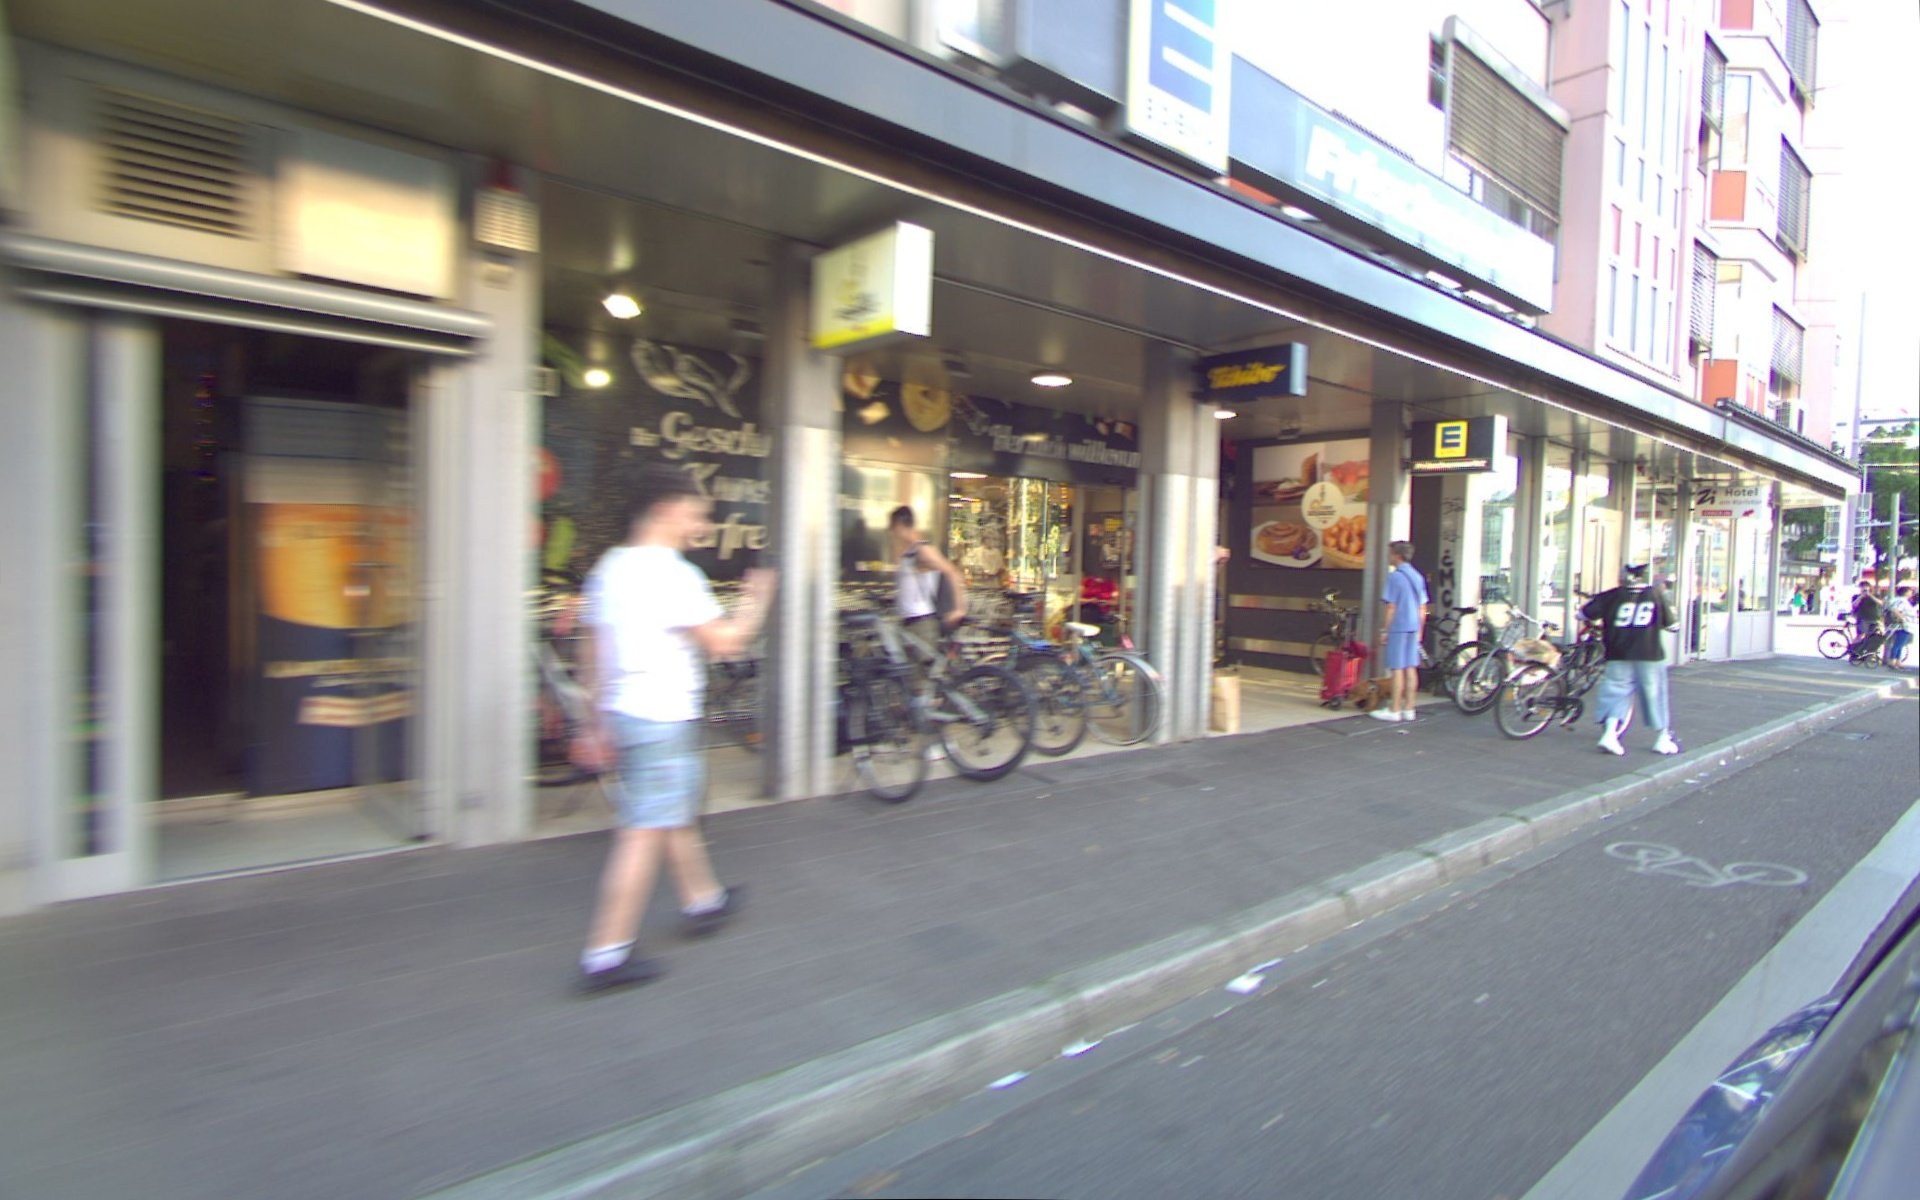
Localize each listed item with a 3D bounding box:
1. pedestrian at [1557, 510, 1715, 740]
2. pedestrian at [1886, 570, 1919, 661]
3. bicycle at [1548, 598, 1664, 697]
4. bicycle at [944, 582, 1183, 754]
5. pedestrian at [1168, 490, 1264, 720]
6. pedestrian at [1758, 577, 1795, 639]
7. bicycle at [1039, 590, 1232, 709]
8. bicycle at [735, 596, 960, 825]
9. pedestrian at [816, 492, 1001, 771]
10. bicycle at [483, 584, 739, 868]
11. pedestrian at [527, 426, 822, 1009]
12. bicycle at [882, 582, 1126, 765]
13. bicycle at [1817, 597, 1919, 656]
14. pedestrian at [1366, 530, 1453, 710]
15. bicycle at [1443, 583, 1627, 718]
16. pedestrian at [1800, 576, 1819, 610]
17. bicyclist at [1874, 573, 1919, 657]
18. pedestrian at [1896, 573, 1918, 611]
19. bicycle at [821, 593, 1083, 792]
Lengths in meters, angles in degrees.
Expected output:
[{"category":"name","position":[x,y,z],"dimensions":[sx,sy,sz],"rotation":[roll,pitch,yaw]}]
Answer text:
[{"category":"pedestrian","position":[5.709,0.185,8.579],"dimensions":[0.717,1.838,0.809],"rotation":[0,1,-21]},{"category":"pedestrian","position":[18.421,0.292,19.521],"dimensions":[0.635,1.681,0.758],"rotation":[7,5,40]},{"category":"bicycle","position":[7.765,0.531,12.135],"dimensions":[1.812,0.987,0.677],"rotation":[-2,7,-44]},{"category":"bicycle","position":[0.738,0.452,7.838],"dimensions":[0.566,1.072,1.928],"rotation":[-1,4,-42]},{"category":"pedestrian","position":[2.155,0.022,8.595],"dimensions":[0.722,1.838,0.804],"rotation":[1,1,13]},{"category":"pedestrian","position":[20.912,0.191,25.940],"dimensions":[0.688,1.554,0.605],"rotation":[2,2,39]},{"category":"bicycle","position":[1.688,0.441,10.039],"dimensions":[0.566,0.949,1.928],"rotation":[-1,4,-42]},{"category":"bicycle","position":[-0.714,0.544,5.849],"dimensions":[0.496,0.985,1.738],"rotation":[0,5,-35]},{"category":"pedestrian","position":[-0.344,0.158,6.686],"dimensions":[0.902,1.683,0.778],"rotation":[-1,4,-42]},{"category":"bicycle","position":[-1.837,0.512,5.110],"dimensions":[0.566,1.072,1.929],"rotation":[0,4,-40]},{"category":"pedestrian","position":[-0.968,0.324,3.410],"dimensions":[0.757,1.693,0.634],"rotation":[-1,4,-40]},{"category":"bicycle","position":[0.255,0.458,7.404],"dimensions":[0.566,1.072,1.928],"rotation":[-1,4,-42]},{"category":"bicycle","position":[19.595,0.561,21.387],"dimensions":[0.756,1.137,2.172],"rotation":[-1,3,-43]},{"category":"pedestrian","position":[4.147,0.174,9.356],"dimensions":[0.451,1.613,0.409],"rotation":[2,4,-12]},{"category":"bicycle","position":[5.771,0.464,10.152],"dimensions":[1.600,1.189,0.803],"rotation":[0,5,-29]},{"category":"pedestrian","position":[37.709,-0.311,44.918],"dimensions":[0.594,1.461,0.605],"rotation":[-1,0,39]},{"category":"bicyclist","position":[19.697,0.296,21.277],"dimensions":[0.756,1.698,0.636],"rotation":[-1,2,-44]},{"category":"pedestrian","position":[52.030,-0.452,55.633],"dimensions":[0.743,2.039,1.057],"rotation":[-1,0,37]},{"category":"bicycle","position":[-0.136,0.528,6.818],"dimensions":[0.646,0.985,2.029],"rotation":[0,5,-37]}]
